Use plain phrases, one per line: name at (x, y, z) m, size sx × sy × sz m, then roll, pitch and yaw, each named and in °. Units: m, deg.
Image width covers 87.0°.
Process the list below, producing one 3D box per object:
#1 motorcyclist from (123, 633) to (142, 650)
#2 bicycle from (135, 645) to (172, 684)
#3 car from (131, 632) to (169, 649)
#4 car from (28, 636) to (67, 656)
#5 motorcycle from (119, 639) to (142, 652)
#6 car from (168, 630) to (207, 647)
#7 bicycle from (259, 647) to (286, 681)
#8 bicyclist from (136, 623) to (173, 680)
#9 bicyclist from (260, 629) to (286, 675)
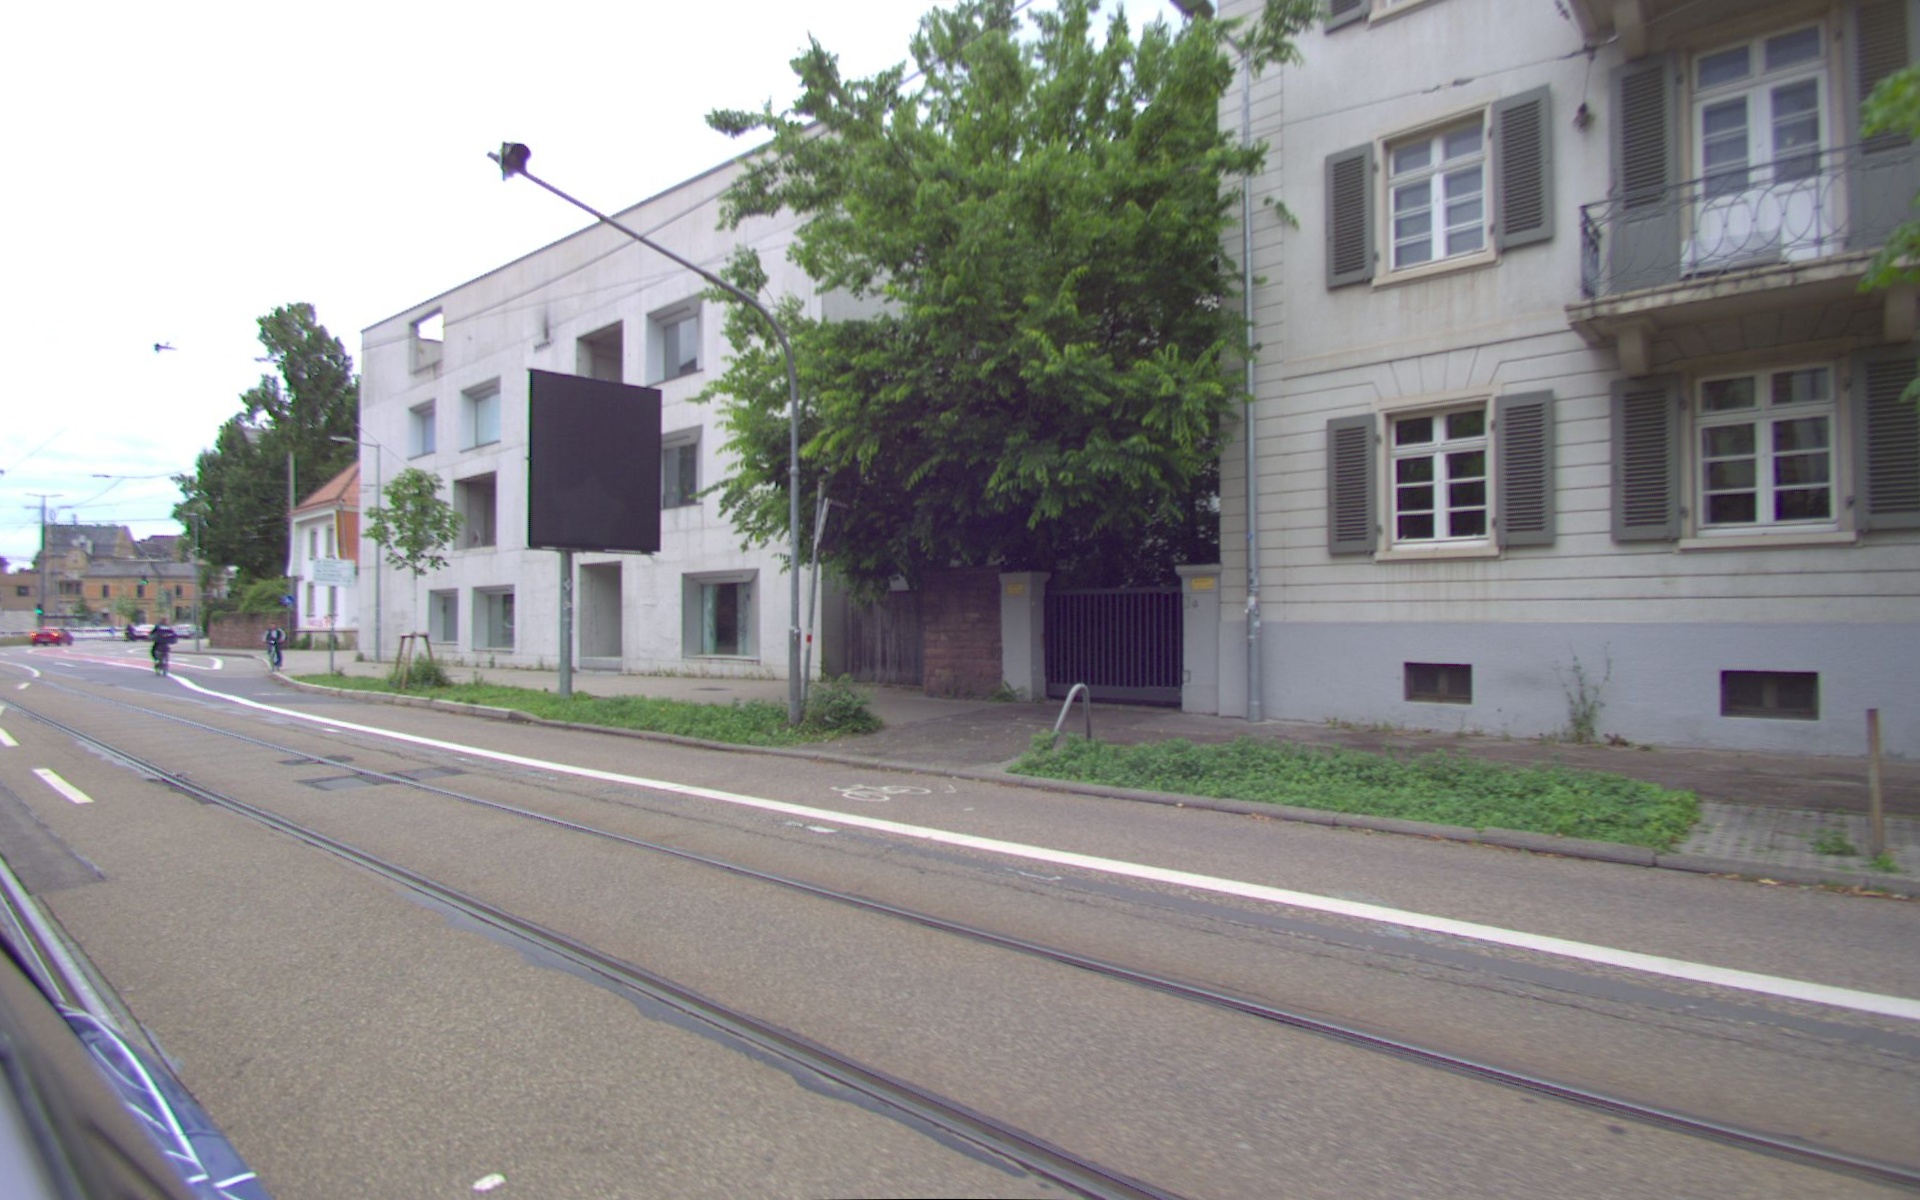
motorcyclist at (-74.203, 3.696, 90.735) m, size 1.058 × 1.497 × 1.255 m, roll 0°, pitch -2°, yaw -27°
bicycle at (-25.727, 2.037, 32.281) m, size 0.781 × 1.195 × 2.013 m, roll 5°, pitch -5°, yaw -40°
car at (-75.693, 3.774, 94.633) m, size 1.469 × 1.520 × 3.479 m, roll 0°, pitch -1°, yaw -15°
car at (-70.889, 3.543, 78.669) m, size 1.732 × 1.511 × 4.010 m, roll 2°, pitch -3°, yaw -35°
motorcycle at (-73.907, 4.069, 90.206) m, size 1.038 × 1.077 × 2.656 m, roll 0°, pitch -2°, yaw -28°
car at (-77.588, 3.845, 101.716) m, size 1.658 × 1.663 × 3.991 m, roll 0°, pitch -1°, yaw -14°
bicycle at (-25.666, 2.367, 37.805) m, size 0.763 × 1.221 × 1.874 m, roll 1°, pitch -2°, yaw -33°
bicyclist at (-25.722, 1.647, 32.319) m, size 0.781 × 1.797 × 1.149 m, roll 5°, pitch -5°, yaw -40°
bicyclist at (-25.703, 1.942, 37.870) m, size 0.763 × 1.703 × 0.871 m, roll 1°, pitch -2°, yaw -33°
